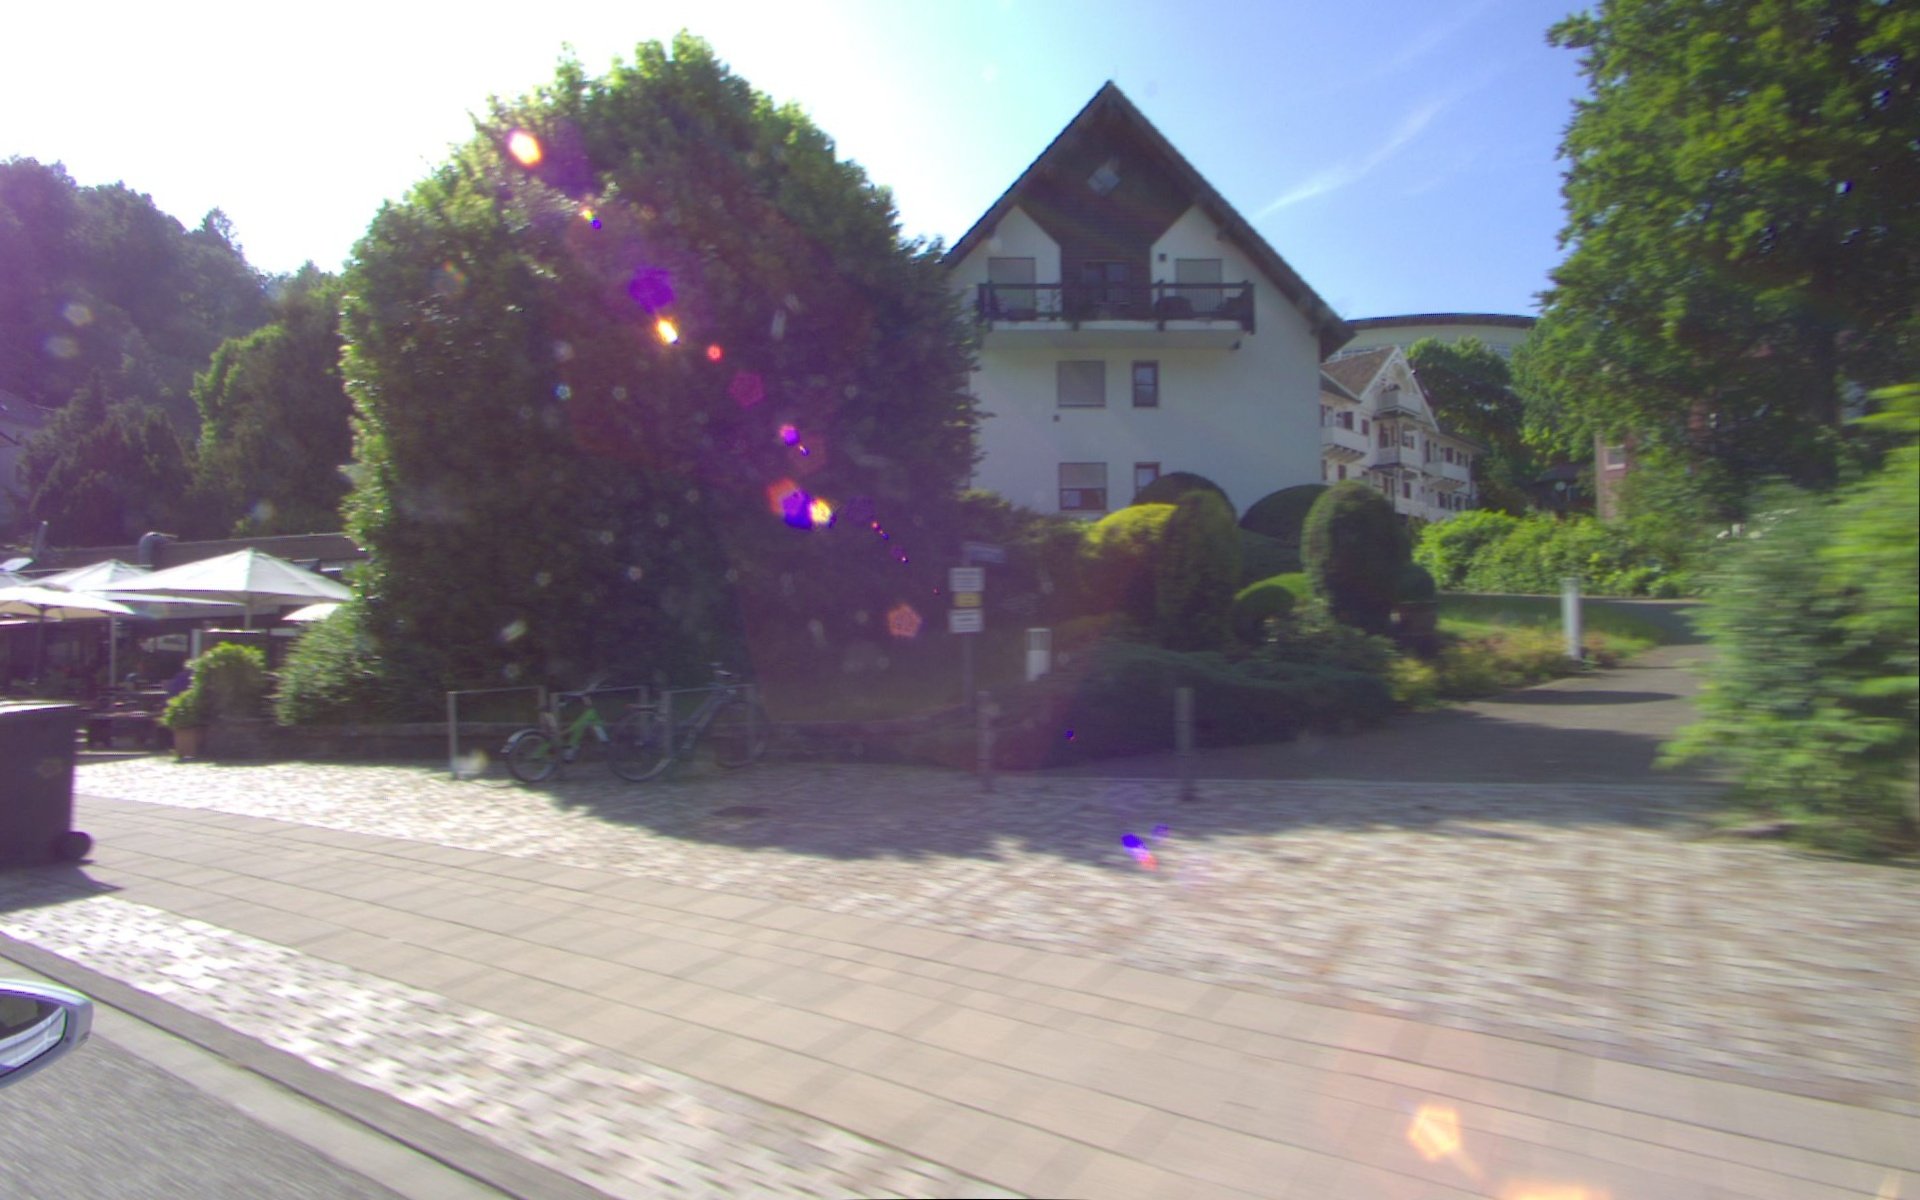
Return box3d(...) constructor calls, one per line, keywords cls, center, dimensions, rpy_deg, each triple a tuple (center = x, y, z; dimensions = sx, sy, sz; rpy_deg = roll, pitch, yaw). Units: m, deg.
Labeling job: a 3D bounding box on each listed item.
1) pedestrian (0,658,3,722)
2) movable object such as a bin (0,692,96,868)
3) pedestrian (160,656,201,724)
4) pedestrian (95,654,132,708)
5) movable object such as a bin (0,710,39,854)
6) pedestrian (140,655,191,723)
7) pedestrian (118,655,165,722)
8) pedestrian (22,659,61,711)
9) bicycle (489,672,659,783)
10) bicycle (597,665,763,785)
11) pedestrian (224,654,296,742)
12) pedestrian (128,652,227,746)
box3d(cls="pedestrian", center=(-19.560, 1.801, 19.735), dimensions=(0.799, 1.277, 0.699), rpy_deg=(0, -1, -21))
box3d(cls="movable object such as a bin", center=(-6.138, 1.145, 6.484), dimensions=(0.562, 1.046, 0.655), rpy_deg=(-1, -1, 27))
box3d(cls="pedestrian", center=(-15.191, 1.747, 19.520), dimensions=(0.432, 1.281, 0.470), rpy_deg=(-1, -1, 11))
box3d(cls="pedestrian", center=(-21.502, 2.041, 25.442), dimensions=(0.679, 1.316, 0.633), rpy_deg=(0, -2, -36))
box3d(cls="movable object such as a bin", center=(-6.650, 1.231, 6.727), dimensions=(0.554, 0.924, 0.525), rpy_deg=(-1, 0, 27))
box3d(cls="pedestrian", center=(-15.852, 1.767, 19.987), dimensions=(0.598, 1.321, 0.531), rpy_deg=(-1, -1, 12))
box3d(cls="pedestrian", center=(-16.795, 1.795, 20.553), dimensions=(0.571, 1.321, 0.636), rpy_deg=(-1, -1, -22))
box3d(cls="pedestrian", center=(-22.423, 2.060, 24.446), dimensions=(0.681, 1.224, 0.694), rpy_deg=(0, -2, -44))
box3d(cls="bicycle", center=(-3.816, 1.236, 9.991), dimensions=(1.531, 0.921, 0.381), rpy_deg=(-1, 1, -42))
box3d(cls="bicycle", center=(-2.682, 1.174, 9.700), dimensions=(1.532, 0.996, 0.381), rpy_deg=(-1, 0, -42))
box3d(cls="pedestrian", center=(-10.804, 1.496, 15.465), dimensions=(0.633, 1.301, 0.649), rpy_deg=(-1, -1, 13))
box3d(cls="pedestrian", center=(-11.417, 1.425, 14.640), dimensions=(0.633, 1.301, 0.950), rpy_deg=(-1, -1, 13))
